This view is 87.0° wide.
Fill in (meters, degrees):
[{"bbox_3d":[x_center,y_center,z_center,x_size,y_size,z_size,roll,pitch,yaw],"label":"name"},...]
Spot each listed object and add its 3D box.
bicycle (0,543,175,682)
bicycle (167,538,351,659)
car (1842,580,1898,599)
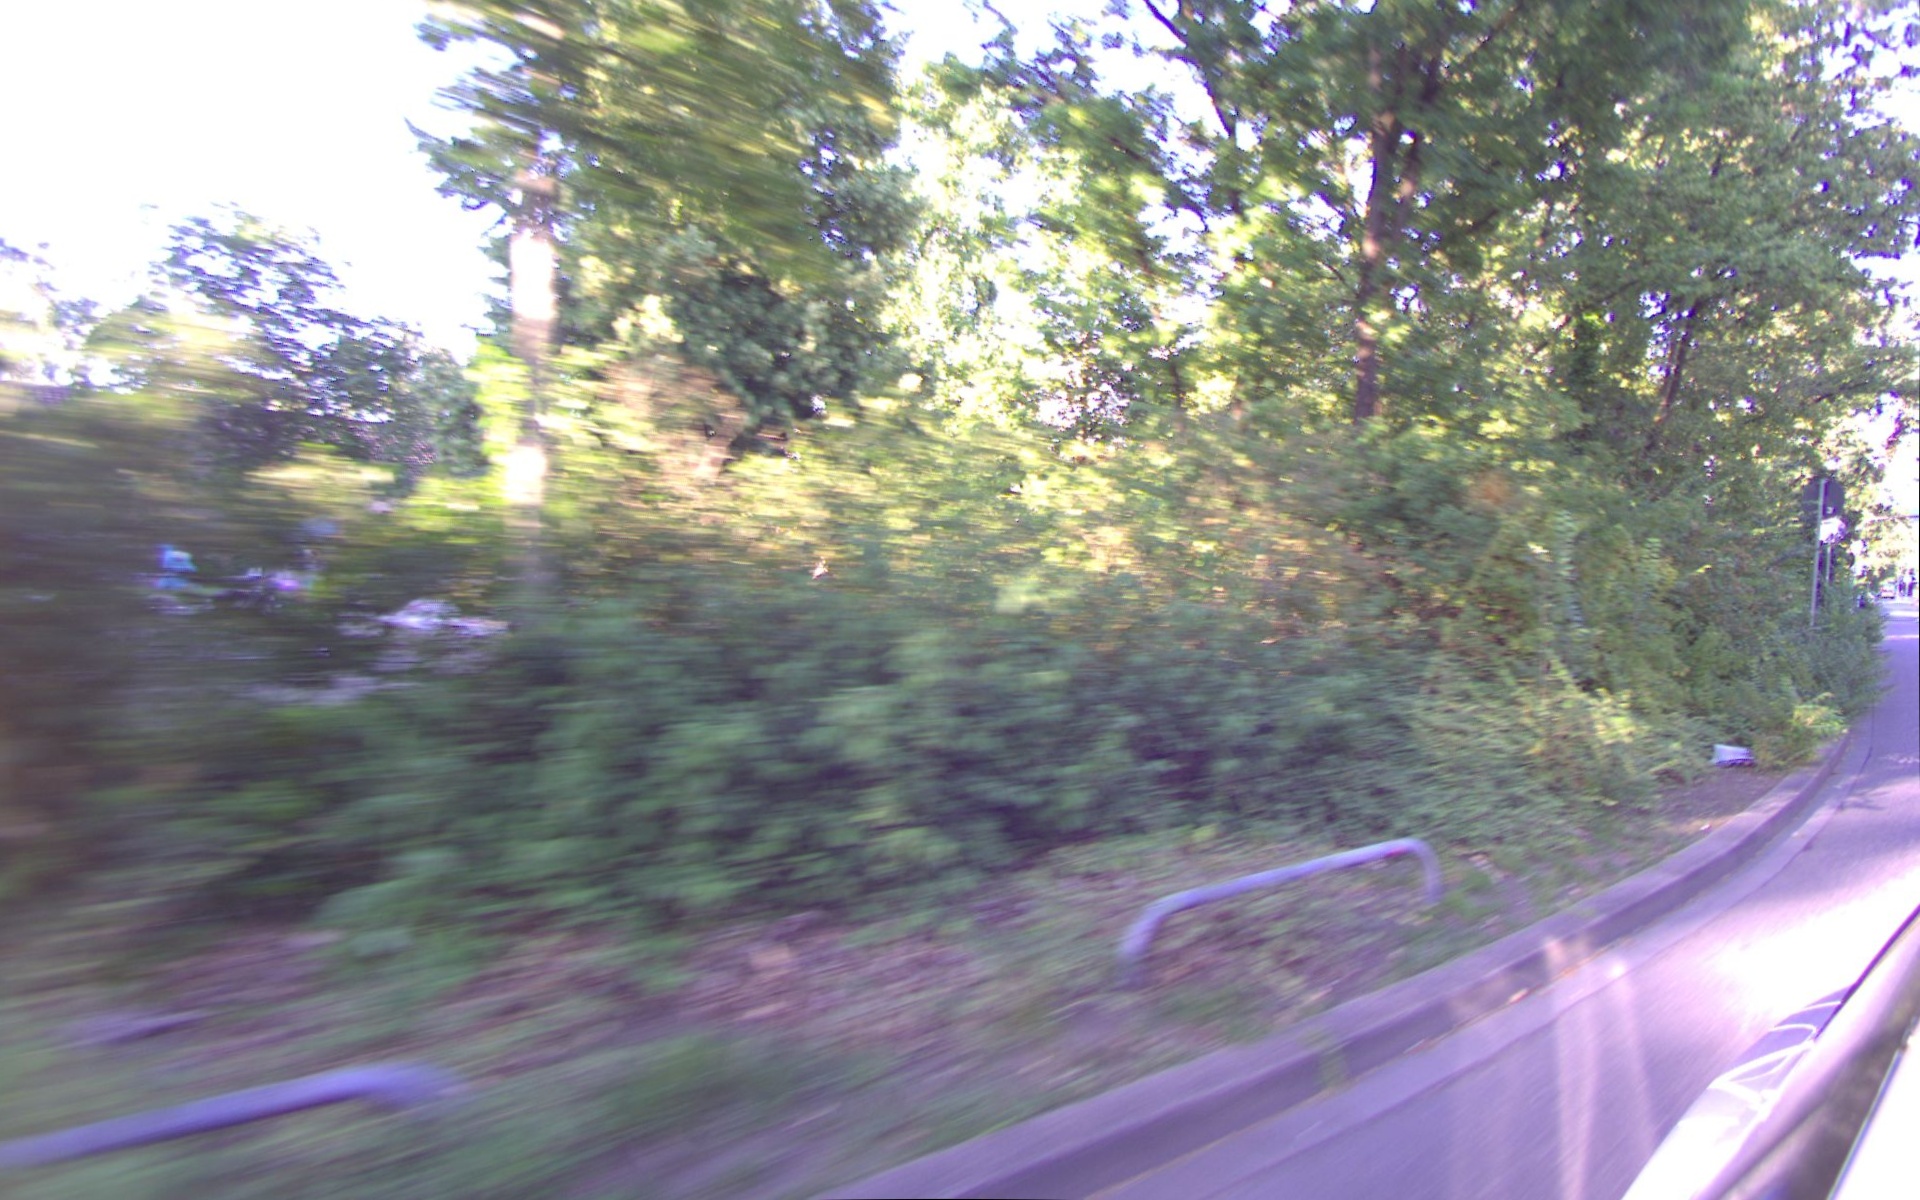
[{"bbox_3d":[-8.791,0.065,9.946,2.427,1.236,0.744,2,2,27],"label":"bicycle"},{"bbox_3d":[-8.289,-0.063,11.941,2.427,1.314,0.744,2,2,27],"label":"bicycle"},{"bbox_3d":[86.103,-1.018,95.824,1.965,1.660,3.995,0,1,6],"label":"car"}]
